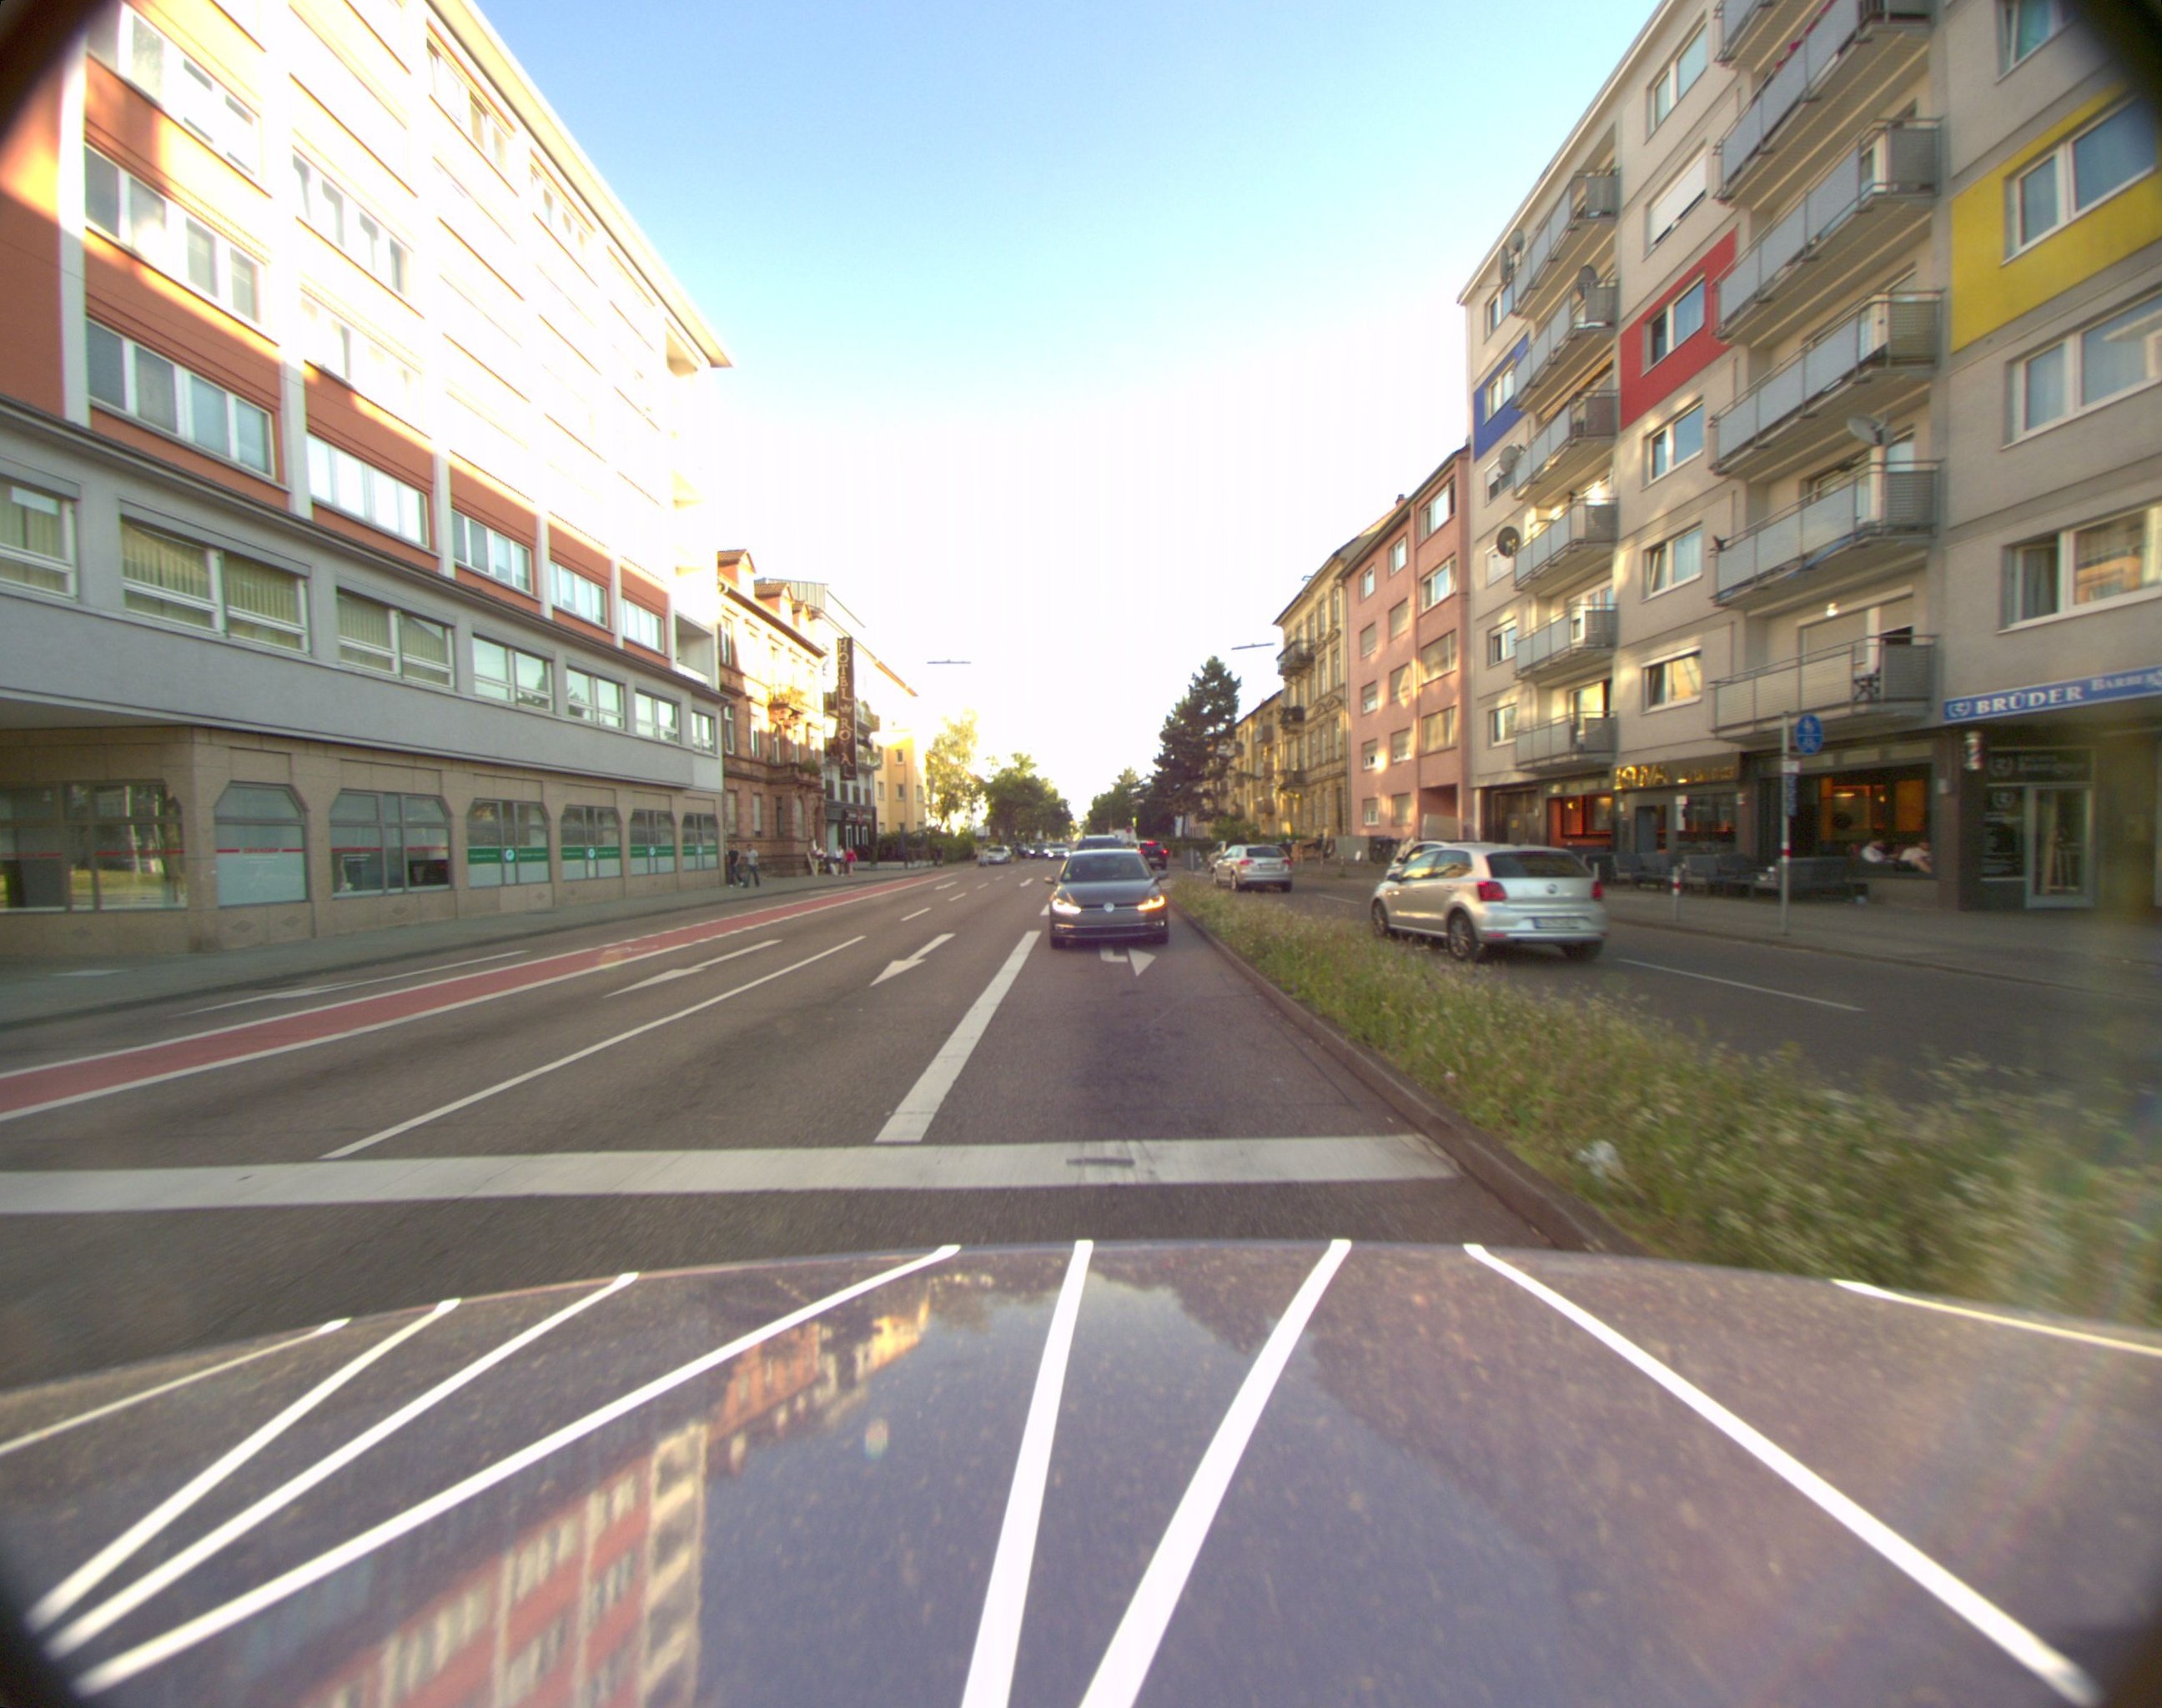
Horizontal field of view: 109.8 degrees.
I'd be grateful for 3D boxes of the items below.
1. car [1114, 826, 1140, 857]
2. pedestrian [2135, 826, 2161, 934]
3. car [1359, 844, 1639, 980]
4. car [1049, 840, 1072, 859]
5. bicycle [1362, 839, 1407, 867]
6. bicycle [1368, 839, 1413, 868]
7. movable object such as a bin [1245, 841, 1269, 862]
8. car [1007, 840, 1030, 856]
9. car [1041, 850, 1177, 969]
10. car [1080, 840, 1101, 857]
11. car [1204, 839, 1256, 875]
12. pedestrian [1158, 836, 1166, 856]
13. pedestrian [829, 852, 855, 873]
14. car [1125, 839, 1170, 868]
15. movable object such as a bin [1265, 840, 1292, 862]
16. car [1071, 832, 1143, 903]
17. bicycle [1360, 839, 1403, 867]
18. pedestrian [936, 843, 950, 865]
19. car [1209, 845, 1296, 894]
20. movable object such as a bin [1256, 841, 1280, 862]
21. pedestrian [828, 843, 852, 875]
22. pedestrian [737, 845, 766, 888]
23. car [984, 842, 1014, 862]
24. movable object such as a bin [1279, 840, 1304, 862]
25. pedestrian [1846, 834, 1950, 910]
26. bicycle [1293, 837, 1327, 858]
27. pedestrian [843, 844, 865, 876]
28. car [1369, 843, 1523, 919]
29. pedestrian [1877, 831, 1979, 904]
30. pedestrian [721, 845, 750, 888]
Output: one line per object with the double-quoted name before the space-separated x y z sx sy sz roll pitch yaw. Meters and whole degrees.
"car" 4.219 -1.151 70.360 2.136 2.741 4.465 0 1 0
"pedestrian" 14.912 0.352 10.179 0.625 1.458 0.659 -1 2 1
"car" 5.426 0.630 10.502 1.680 1.536 3.805 0 1 -2
"car" -1.863 -0.408 68.651 1.907 1.532 3.999 -1 2 0
"bicycle" 13.539 -0.033 33.907 1.780 1.184 0.473 -2 2 -2
"bicycle" 13.510 -0.020 33.174 1.780 1.184 0.473 -2 2 -2
"movable object such as a bin" 10.798 -0.166 46.708 1.195 1.226 0.847 -3 2 -39
"car" -6.354 -0.646 78.117 1.947 1.616 4.193 -1 1 1
"car" 0.422 0.738 12.378 1.770 1.451 4.268 -3 2 1
"car" 0.856 -0.547 71.513 1.757 1.479 4.246 -1 1 -3
"car" 6.916 0.118 35.557 1.540 1.584 2.805 0 1 -8
"pedestrian" 6.584 -0.651 61.887 0.577 1.591 0.481 -1 2 1
"pedestrian" -13.264 0.466 42.215 1.100 1.129 0.924 -1 2 -1
"car" 3.638 -0.066 42.186 1.680 1.536 4.099 0 1 -7
"movable object such as a bin" 11.730 -0.169 45.122 1.295 1.226 0.926 -3 2 -39
"car" 0.706 0.310 22.190 1.895 1.843 4.465 0 1 0
"bicycle" 13.626 -0.052 34.485 1.780 1.184 0.473 -2 2 -2
"pedestrian" -9.903 -0.005 54.526 0.738 1.593 1.011 1 2 0
"car" 5.311 0.425 24.045 1.713 1.417 4.101 0 1 -2
"movable object such as a bin" 11.348 -0.173 46.020 1.195 1.226 0.847 -3 2 -39
"pedestrian" -12.617 0.258 39.786 0.786 1.579 1.011 3 2 5
"pedestrian" -13.583 0.494 31.380 0.668 1.716 1.011 -1 2 2
"car" -6.702 -0.159 62.334 1.905 1.509 4.074 -1 1 1
"movable object such as a bin" 12.296 -0.175 44.371 1.195 1.226 0.847 -3 2 -39
"pedestrian" 15.172 0.314 14.138 0.974 1.339 0.882 -1 2 1
"bicycle" 13.206 -0.382 43.873 1.780 1.184 0.473 -2 2 -2
"pedestrian" -11.827 0.298 39.643 0.738 1.579 1.011 3 2 5
"car" 8.071 0.514 17.176 1.680 1.536 3.637 0 1 -1
"pedestrian" 16.386 0.241 14.736 0.882 1.339 0.974 -1 2 1
"pedestrian" -14.304 0.497 31.472 0.668 1.716 1.011 -1 2 3
